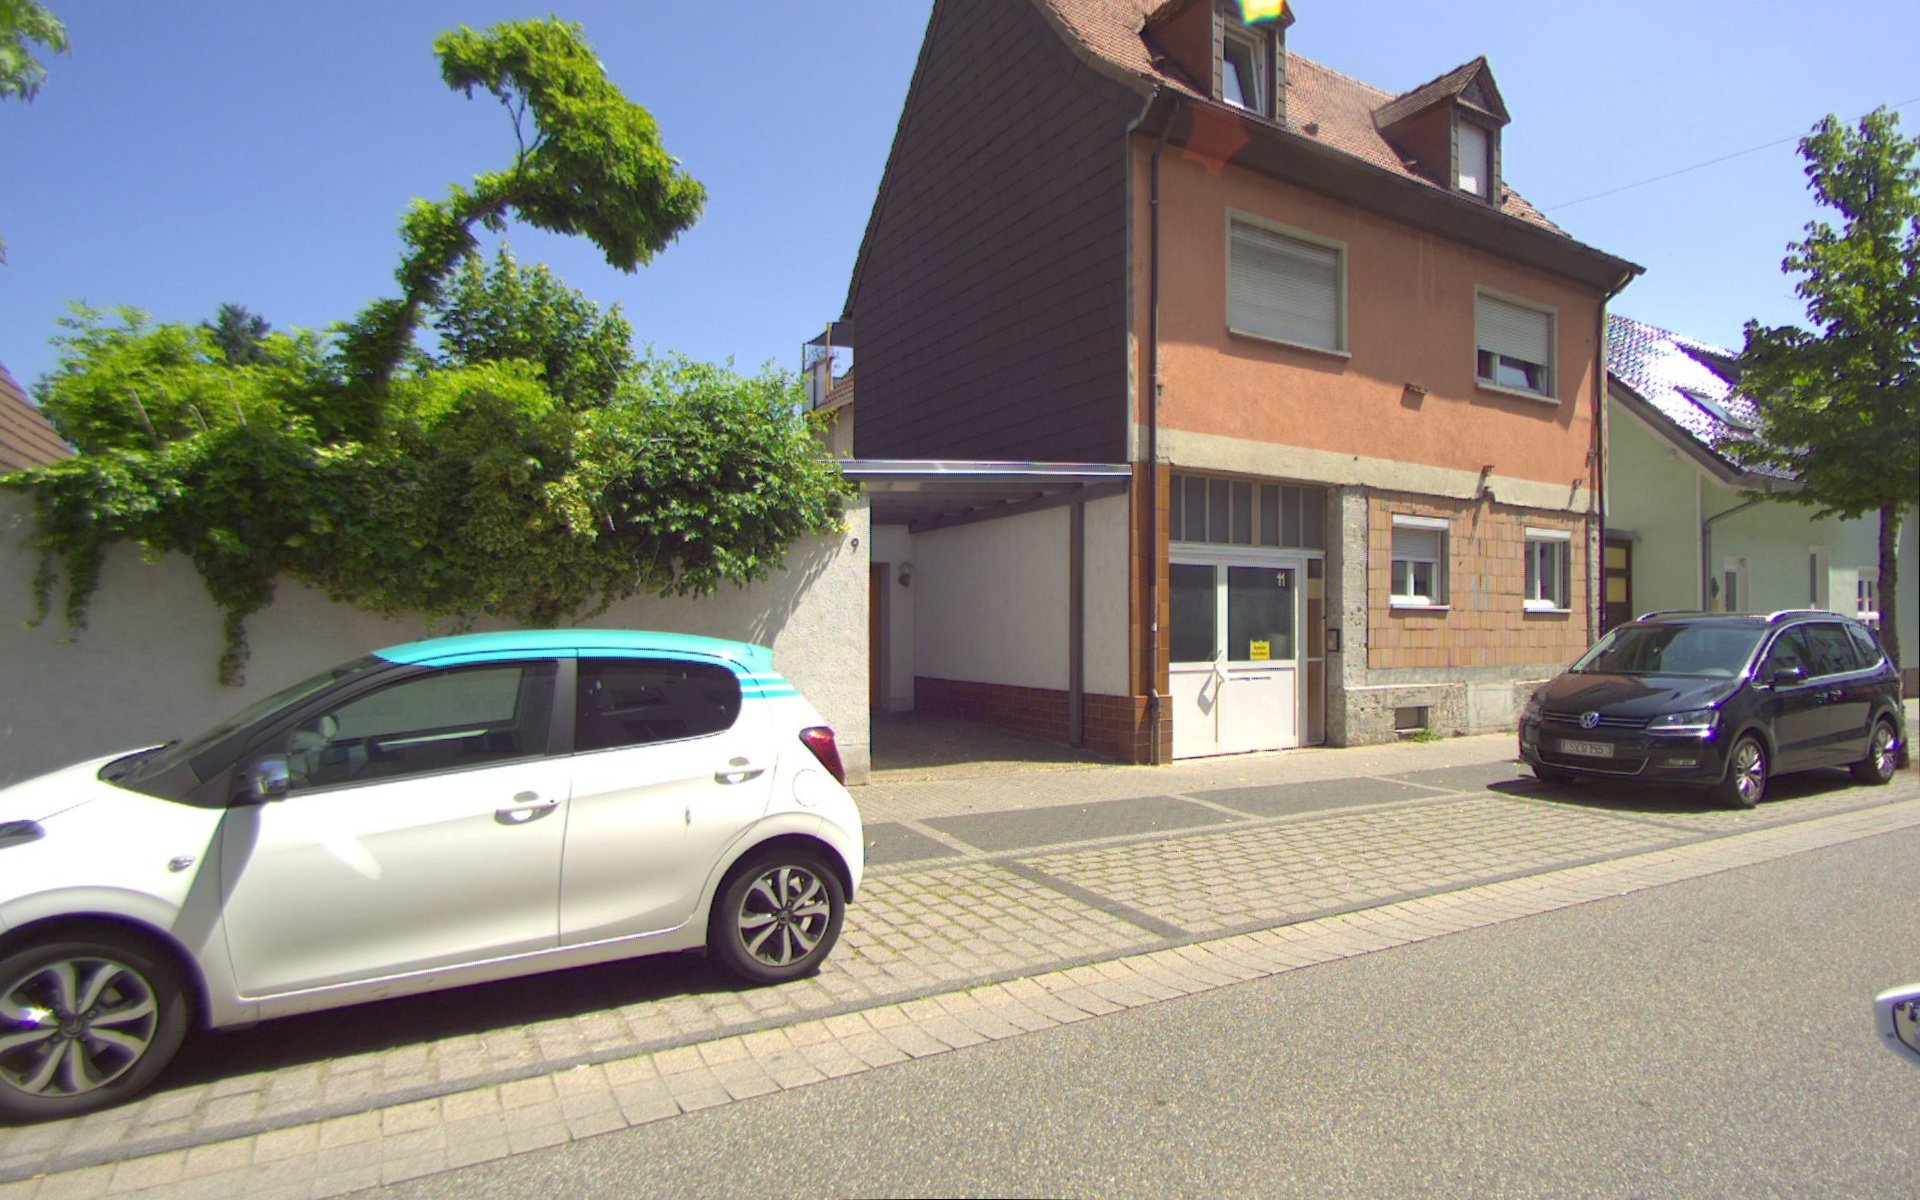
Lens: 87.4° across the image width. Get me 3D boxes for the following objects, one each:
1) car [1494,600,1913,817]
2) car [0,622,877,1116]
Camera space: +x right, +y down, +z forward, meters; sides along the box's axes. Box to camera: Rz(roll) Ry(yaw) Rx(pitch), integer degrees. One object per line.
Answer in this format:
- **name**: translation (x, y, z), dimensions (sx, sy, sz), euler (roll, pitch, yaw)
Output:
- **car**: translation (7.495, 0.931, 10.027), dimensions (4.467, 1.749, 1.767), euler (1, -2, -31)
- **car**: translation (-2.197, 0.831, 4.222), dimensions (3.369, 1.449, 1.547), euler (1, -2, -30)
